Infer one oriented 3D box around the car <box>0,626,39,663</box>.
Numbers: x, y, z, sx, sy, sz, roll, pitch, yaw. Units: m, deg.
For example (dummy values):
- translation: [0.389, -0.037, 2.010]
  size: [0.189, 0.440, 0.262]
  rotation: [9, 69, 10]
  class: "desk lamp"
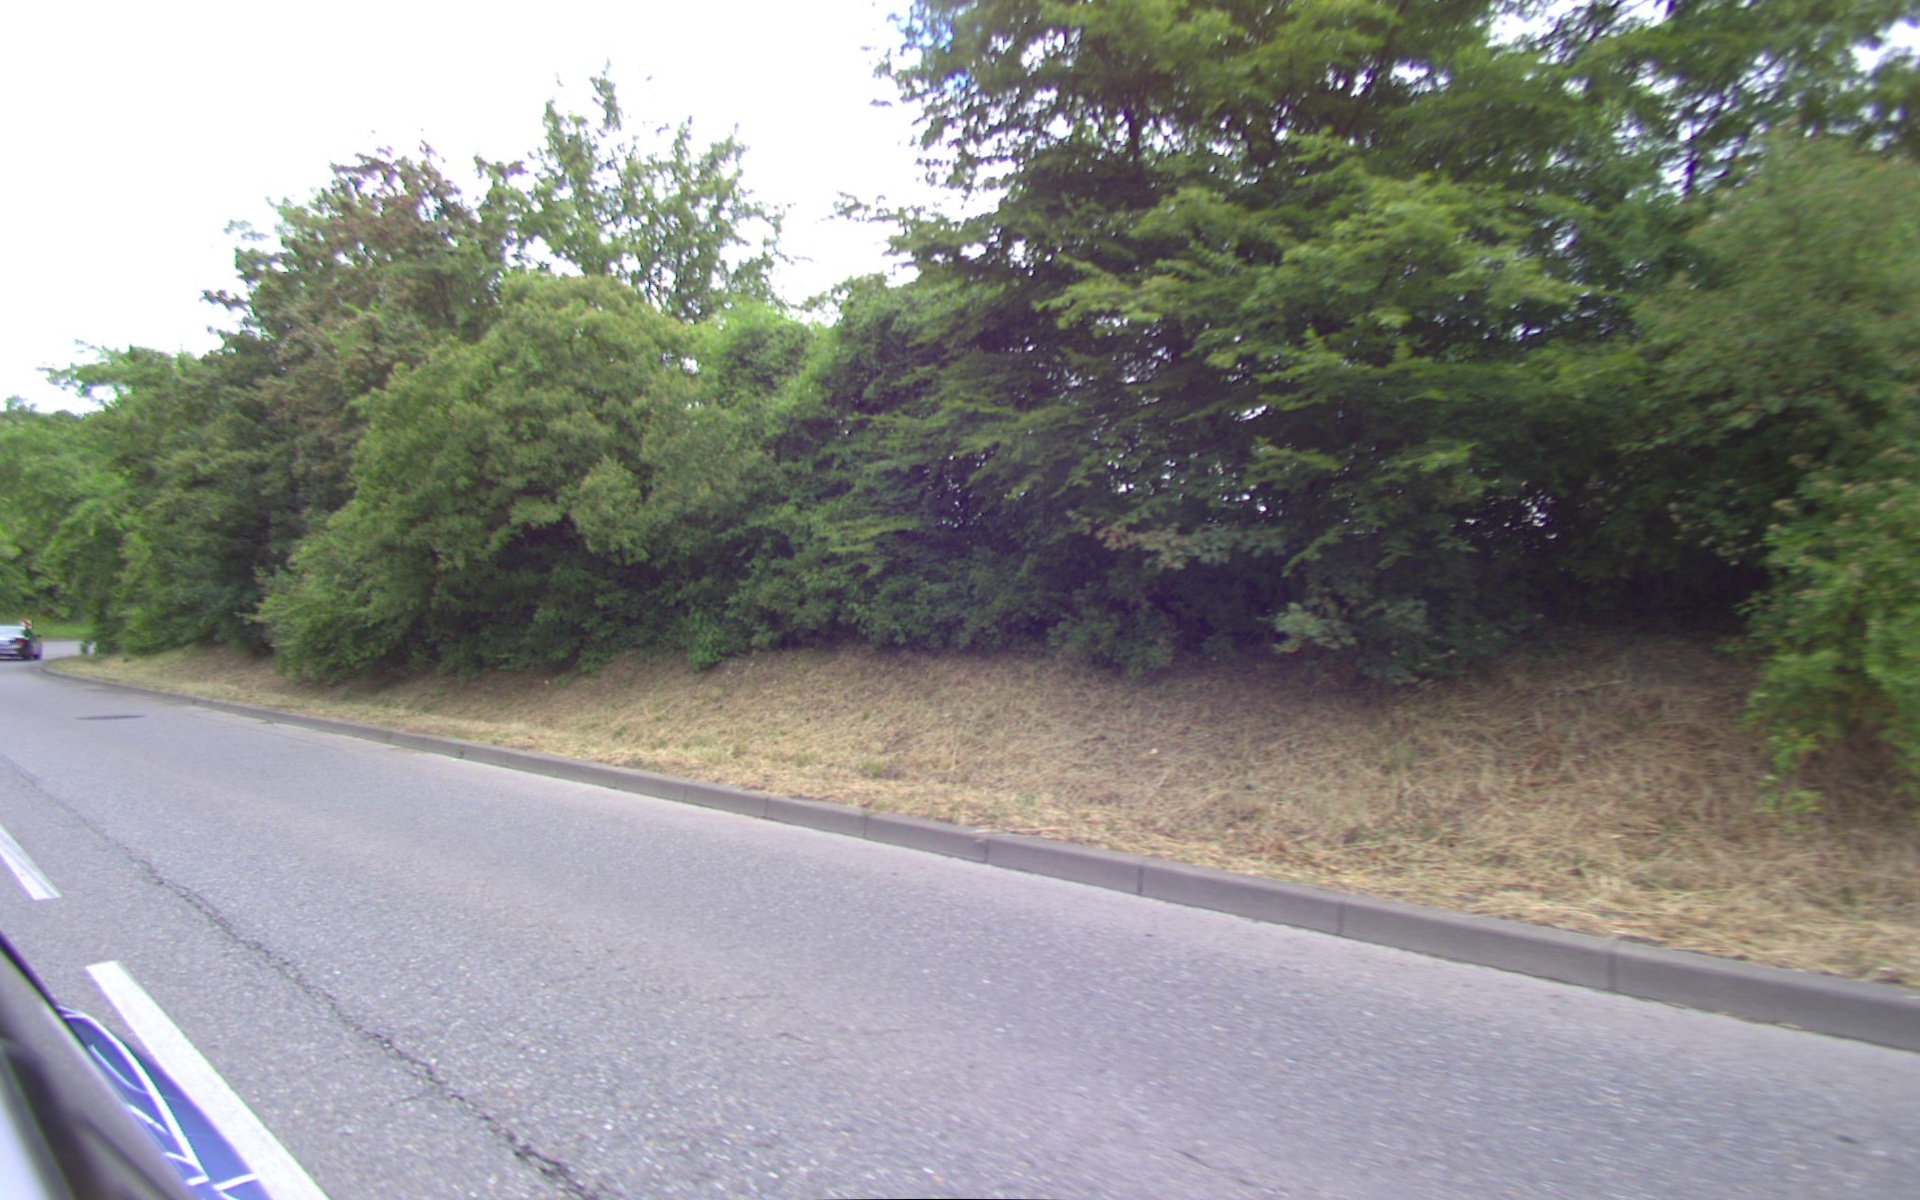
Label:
- translation: [-40.016, 1.838, 42.376]
  size: [1.807, 1.416, 4.440]
  rotation: [0, -1, -38]
  class: "car"
